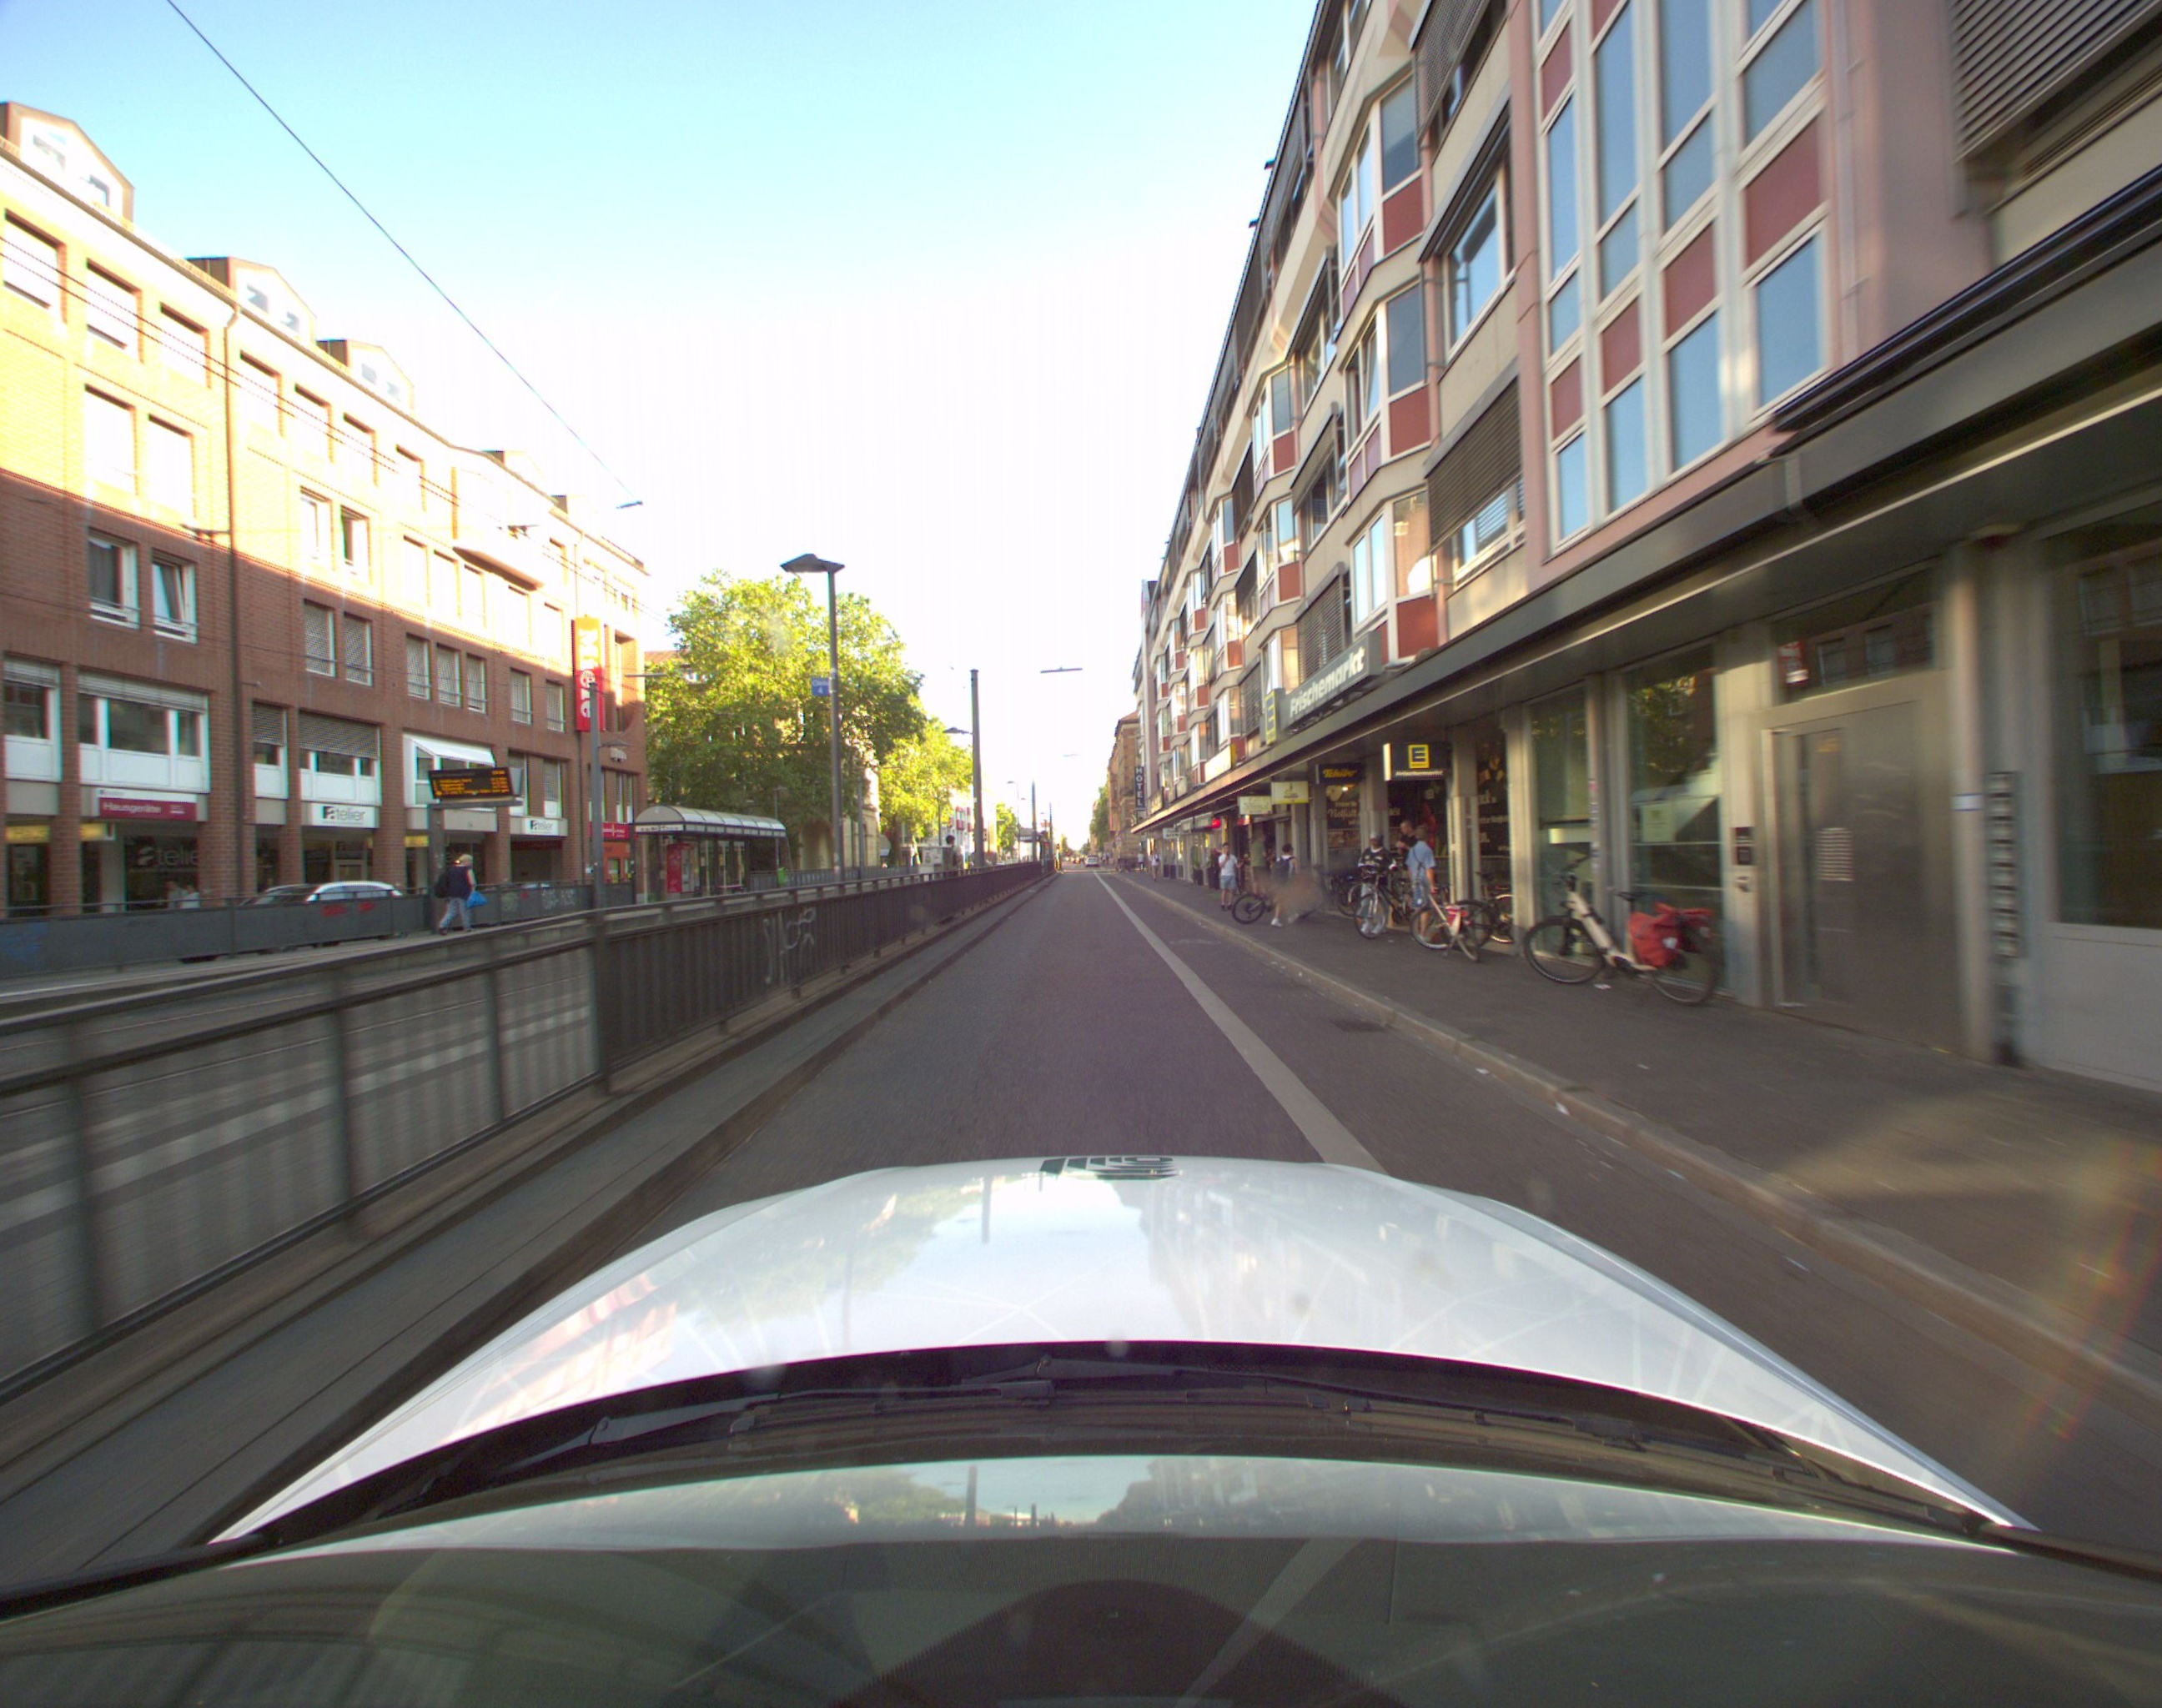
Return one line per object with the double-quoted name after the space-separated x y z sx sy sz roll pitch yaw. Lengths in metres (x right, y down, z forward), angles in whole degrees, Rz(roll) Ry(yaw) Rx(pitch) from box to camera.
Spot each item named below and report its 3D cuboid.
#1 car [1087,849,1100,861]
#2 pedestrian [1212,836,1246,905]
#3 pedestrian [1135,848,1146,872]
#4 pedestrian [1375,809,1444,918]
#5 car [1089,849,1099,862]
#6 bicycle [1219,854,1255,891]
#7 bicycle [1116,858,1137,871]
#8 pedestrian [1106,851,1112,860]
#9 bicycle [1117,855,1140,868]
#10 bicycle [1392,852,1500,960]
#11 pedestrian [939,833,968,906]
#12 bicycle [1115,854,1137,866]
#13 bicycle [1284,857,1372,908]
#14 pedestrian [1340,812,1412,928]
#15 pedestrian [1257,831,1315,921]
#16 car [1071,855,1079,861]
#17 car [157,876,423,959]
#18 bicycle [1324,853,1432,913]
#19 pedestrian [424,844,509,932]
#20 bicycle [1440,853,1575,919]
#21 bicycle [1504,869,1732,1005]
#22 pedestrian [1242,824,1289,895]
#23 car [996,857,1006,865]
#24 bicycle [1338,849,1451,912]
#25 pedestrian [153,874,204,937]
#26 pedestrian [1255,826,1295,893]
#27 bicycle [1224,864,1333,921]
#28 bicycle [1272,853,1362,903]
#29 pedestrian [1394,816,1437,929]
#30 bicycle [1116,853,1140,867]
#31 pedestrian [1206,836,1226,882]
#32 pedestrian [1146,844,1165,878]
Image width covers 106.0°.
1.863 0.204 121.468 1.960 1.771 4.876 -1 0 1 "car"
3.689 0.410 20.399 0.630 1.673 0.771 -3 -1 0 "pedestrian"
4.825 0.496 65.863 0.810 1.884 0.777 2 -1 1 "pedestrian"
5.664 0.153 14.045 0.736 1.816 0.798 -2 0 -37 "pedestrian"
2.286 0.260 144.116 1.698 2.120 3.709 -1 -1 3 "car"
4.831 0.562 25.389 0.655 1.067 1.794 -6 0 -1 "bicycle"
4.048 0.926 72.314 1.830 1.054 0.717 -2 0 -4 "bicycle"
4.977 0.249 144.820 0.773 1.567 0.914 -5 0 1 "pedestrian"
4.133 0.642 70.933 1.909 1.047 0.680 -2 0 -4 "bicycle"
4.504 0.602 10.177 0.794 1.175 1.638 -6 -1 11 "bicycle"
-3.191 0.386 20.414 0.581 1.791 0.605 -2 -1 -2 "pedestrian"
4.086 0.566 73.994 1.830 1.054 0.709 -2 0 -4 "bicycle"
5.442 0.626 17.970 1.723 0.973 0.506 -5 0 4 "bicycle"
4.810 0.255 13.292 0.736 1.816 0.798 -2 0 -38 "pedestrian"
3.996 0.428 15.973 0.775 1.663 0.916 -4 -1 -3 "pedestrian"
-1.734 1.213 235.228 2.035 1.674 4.874 -1 0 0 "car"
-18.021 1.360 18.918 1.903 1.594 4.290 -3 -2 1 "car"
5.937 0.565 16.310 1.920 1.060 0.576 -4 0 -3 "bicycle"
-12.168 0.658 16.161 0.908 1.662 0.967 -2 -1 -1 "pedestrian"
7.057 0.521 13.499 1.920 0.938 0.576 -4 0 -3 "bicycle"
4.709 0.668 7.330 0.675 0.976 1.841 -6 0 -3 "bicycle"
5.119 0.156 22.654 0.912 1.866 0.778 -6 -1 -4 "pedestrian"
-17.565 1.495 178.896 1.865 1.600 4.250 -1 0 -3 "car"
6.008 0.501 15.653 1.920 1.060 0.576 -4 0 -3 "bicycle"
-24.320 1.375 21.952 0.610 1.662 0.636 -2 -1 -6 "pedestrian"
5.655 0.160 23.715 0.779 1.866 0.682 -3 -1 -20 "pedestrian"
4.004 0.780 16.634 2.014 0.973 0.659 -5 0 2 "bicycle"
5.616 0.563 19.435 1.918 1.060 0.576 -4 0 -1 "bicycle"
4.876 0.262 11.870 0.403 1.595 0.464 -5 0 27 "pedestrian"
4.112 0.539 71.590 1.966 1.104 0.613 -2 0 -4 "bicycle"
5.051 0.193 30.520 0.541 1.673 0.467 -3 -1 -9 "pedestrian"
3.936 0.368 42.976 0.795 1.722 1.061 -5 -1 1 "pedestrian"
